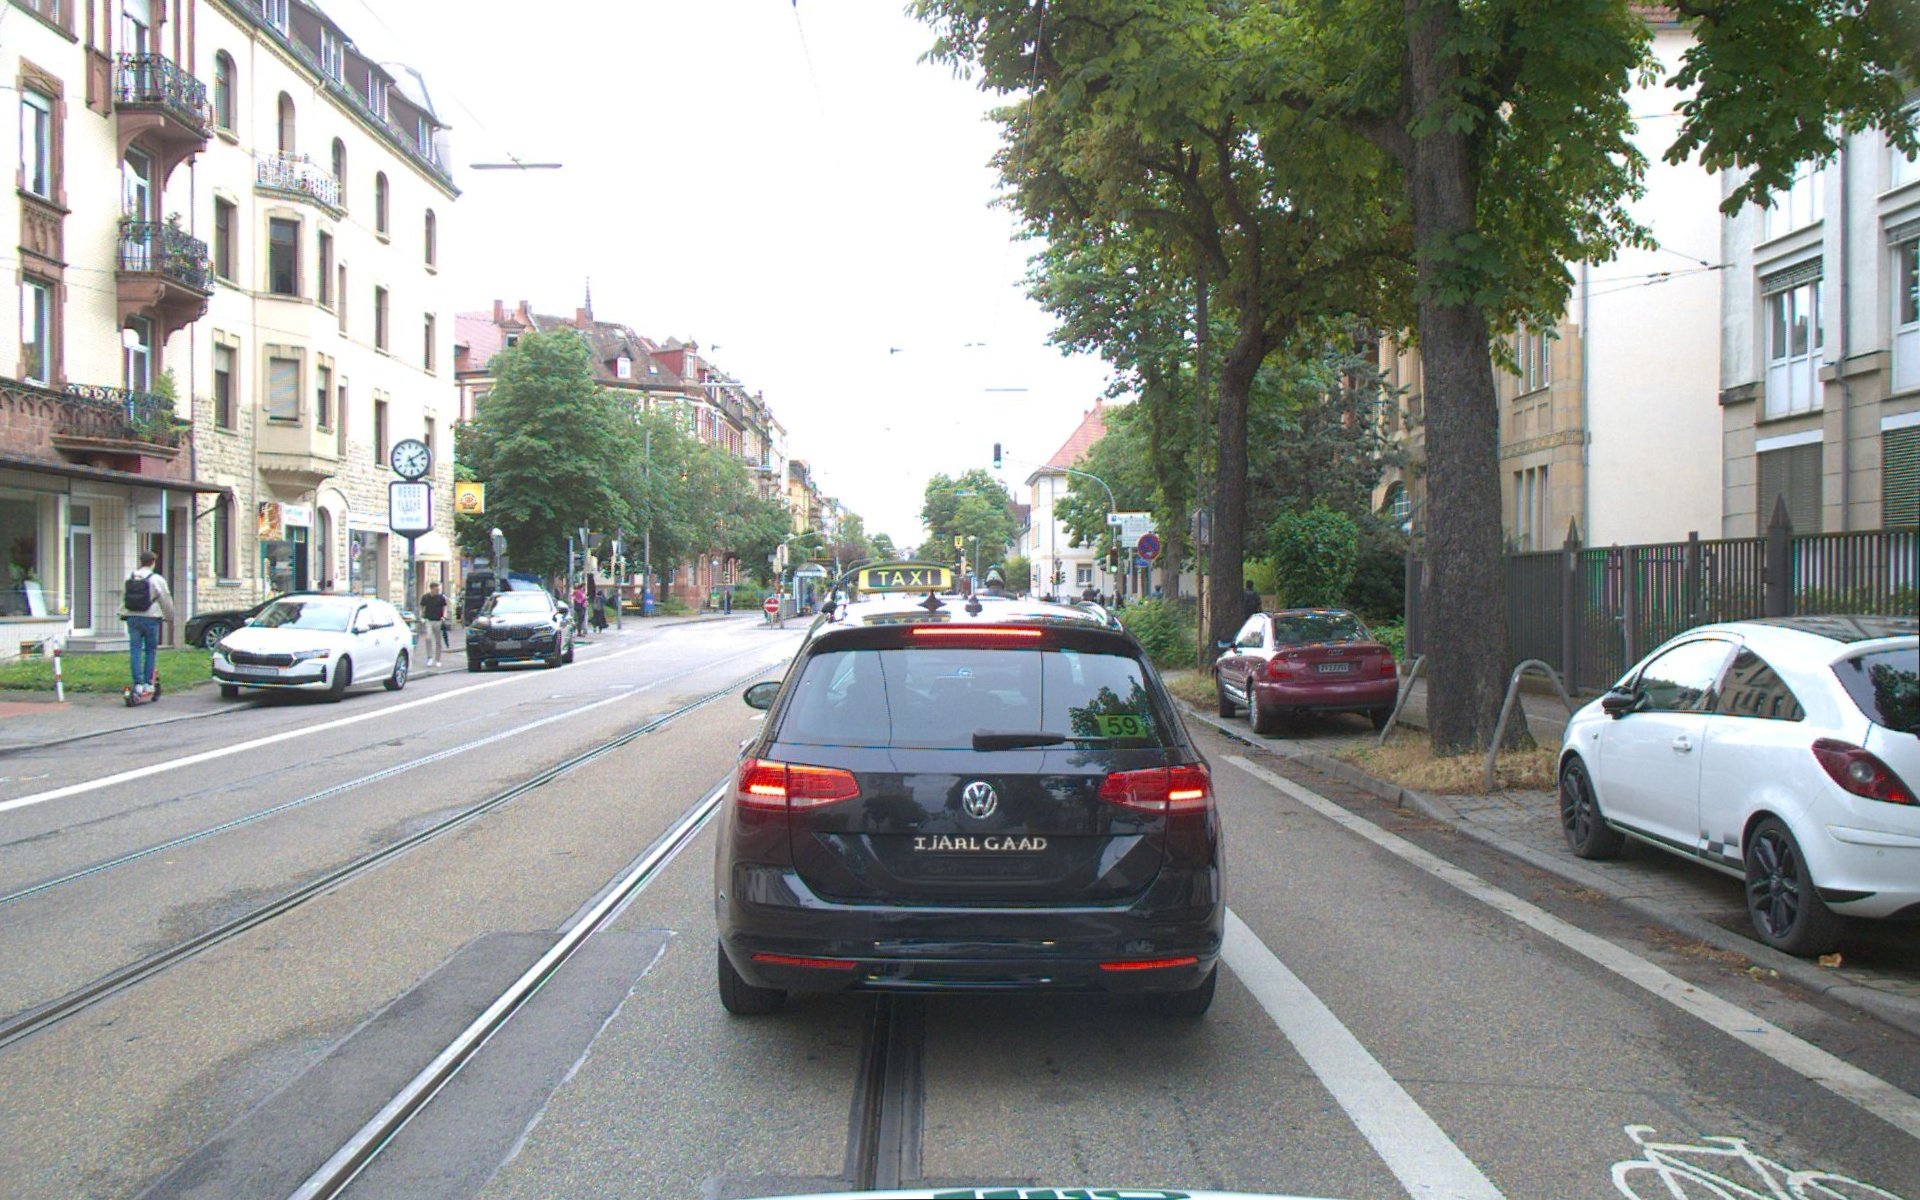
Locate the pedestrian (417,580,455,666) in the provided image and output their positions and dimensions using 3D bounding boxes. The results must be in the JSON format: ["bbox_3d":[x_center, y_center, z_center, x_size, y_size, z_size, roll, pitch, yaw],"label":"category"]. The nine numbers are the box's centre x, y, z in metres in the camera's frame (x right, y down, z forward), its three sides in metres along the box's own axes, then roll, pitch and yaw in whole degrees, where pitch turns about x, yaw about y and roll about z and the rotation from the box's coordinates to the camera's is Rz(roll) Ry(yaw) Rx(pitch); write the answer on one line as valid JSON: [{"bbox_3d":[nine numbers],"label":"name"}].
[{"bbox_3d":[-11.602,0.497,36.625,0.656,1.876,0.880,-1,0,-10],"label":"pedestrian"}]

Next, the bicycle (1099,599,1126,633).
[{"bbox_3d":[5.647,0.591,61.269,1.145,1.217,0.250,-1,0,-39],"label":"bicycle"}]

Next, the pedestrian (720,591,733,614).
[{"bbox_3d":[-15.533,0.174,110.253,0.577,1.547,0.647,0,0,34],"label":"pedestrian"}]

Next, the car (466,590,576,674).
[{"bbox_3d":[-9.732,0.666,37.003,1.849,1.640,4.876,-3,0,-9],"label":"car"}]

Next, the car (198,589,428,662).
[{"bbox_3d":[-14.316,0.548,36.785,4.340,1.394,1.878,2,0,-6],"label":"car"}]

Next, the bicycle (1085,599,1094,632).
[{"bbox_3d":[5.053,0.604,64.595,0.291,1.244,1.431,0,0,6],"label":"bicycle"}]

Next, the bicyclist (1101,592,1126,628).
[{"bbox_3d":[5.686,0.367,61.254,0.688,1.324,0.645,0,0,-38],"label":"bicyclist"}]

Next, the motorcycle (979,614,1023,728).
[{"bbox_3d":[0.475,0.809,19.652,0.437,1.257,1.906,0,0,-1],"label":"motorcycle"}]

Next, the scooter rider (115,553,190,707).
[{"bbox_3d":[-10.905,0.396,22.358,0.629,2.049,0.757,0,0,-1],"label":"scooter rider"}]

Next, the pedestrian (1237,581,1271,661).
[{"bbox_3d":[6.847,0.476,38.563,0.619,1.846,0.726,0,0,-3],"label":"pedestrian"}]

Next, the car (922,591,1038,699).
[{"bbox_3d":[0.265,0.647,26.117,1.688,1.573,3.999,0,0,-1],"label":"car"}]

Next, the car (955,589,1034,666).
[{"bbox_3d":[0.719,0.582,36.482,1.574,1.583,3.577,1,0,-1],"label":"car"}]

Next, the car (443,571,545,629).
[{"bbox_3d":[-20.644,-0.011,73.146,2.168,2.460,5.295,0,0,-43],"label":"car"}]

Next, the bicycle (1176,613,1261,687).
[{"bbox_3d":[4.408,0.843,28.129,0.426,1.219,1.891,0,-1,44],"label":"bicycle"}]

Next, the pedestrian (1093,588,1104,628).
[{"bbox_3d":[5.631,0.324,67.229,0.441,1.589,0.479,0,0,7],"label":"pedestrian"}]

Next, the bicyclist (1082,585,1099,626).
[{"bbox_3d":[5.092,0.211,64.670,0.637,1.596,0.696,0,0,6],"label":"bicyclist"}]

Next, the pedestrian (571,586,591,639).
[{"bbox_3d":[-13.343,0.432,58.248,0.610,1.875,0.609,0,0,-3],"label":"pedestrian"}]

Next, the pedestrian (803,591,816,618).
[{"bbox_3d":[-8.658,0.235,95.059,0.699,1.547,0.590,0,0,1],"label":"pedestrian"}]

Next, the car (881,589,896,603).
[{"bbox_3d":[-8.628,-0.473,199.388,1.686,1.651,3.862,0,0,-1],"label":"car"}]

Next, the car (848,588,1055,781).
[{"bbox_3d":[-0.096,0.680,15.529,1.688,1.573,3.999,0,0,-1],"label":"car"}]

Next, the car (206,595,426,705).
[{"bbox_3d":[-9.765,0.697,25.478,1.712,1.510,4.607,0,0,-2],"label":"car"}]

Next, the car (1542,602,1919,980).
[{"bbox_3d":[4.522,0.783,8.669,1.569,1.460,3.776,-2,0,0],"label":"car"}]

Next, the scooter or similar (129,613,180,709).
[{"bbox_3d":[-10.885,0.806,22.355,0.226,1.256,0.953,0,0,-1],"label":"scooter or similar"}]

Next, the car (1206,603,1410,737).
[{"bbox_3d":[4.229,0.788,20.716,1.569,1.423,4.226,-2,0,-1],"label":"car"}]

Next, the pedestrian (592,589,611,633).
[{"bbox_3d":[-13.874,0.417,64.015,0.577,1.692,0.838,0,0,-4],"label":"pedestrian"}]

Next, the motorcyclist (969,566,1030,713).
[{"bbox_3d":[0.467,0.461,19.880,0.688,1.722,0.804,0,0,-1],"label":"motorcyclist"}]

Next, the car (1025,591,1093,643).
[{"bbox_3d":[3.230,0.549,54.745,1.953,1.605,3.999,1,0,-1],"label":"car"}]

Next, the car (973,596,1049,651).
[{"bbox_3d":[1.459,0.622,46.011,1.852,1.432,4.003,-1,0,5],"label":"car"}]

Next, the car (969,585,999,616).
[{"bbox_3d":[1.672,0.044,116.161,1.991,2.049,3.999,1,0,-1],"label":"car"}]

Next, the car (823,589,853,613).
[{"bbox_3d":[-9.573,0.108,129.879,1.952,1.822,4.000,1,0,1],"label":"car"}]

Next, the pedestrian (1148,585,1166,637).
[{"bbox_3d":[7.134,0.402,59.806,0.503,1.863,0.418,-3,0,15],"label":"pedestrian"}]

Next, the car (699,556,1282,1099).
[{"bbox_3d":[0.065,0.651,6.811,1.688,1.573,3.999,0,0,-1],"label":"car"}]

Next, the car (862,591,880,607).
[{"bbox_3d":[-9.117,-0.122,169.246,1.686,1.651,3.862,-1,0,-1],"label":"car"}]
